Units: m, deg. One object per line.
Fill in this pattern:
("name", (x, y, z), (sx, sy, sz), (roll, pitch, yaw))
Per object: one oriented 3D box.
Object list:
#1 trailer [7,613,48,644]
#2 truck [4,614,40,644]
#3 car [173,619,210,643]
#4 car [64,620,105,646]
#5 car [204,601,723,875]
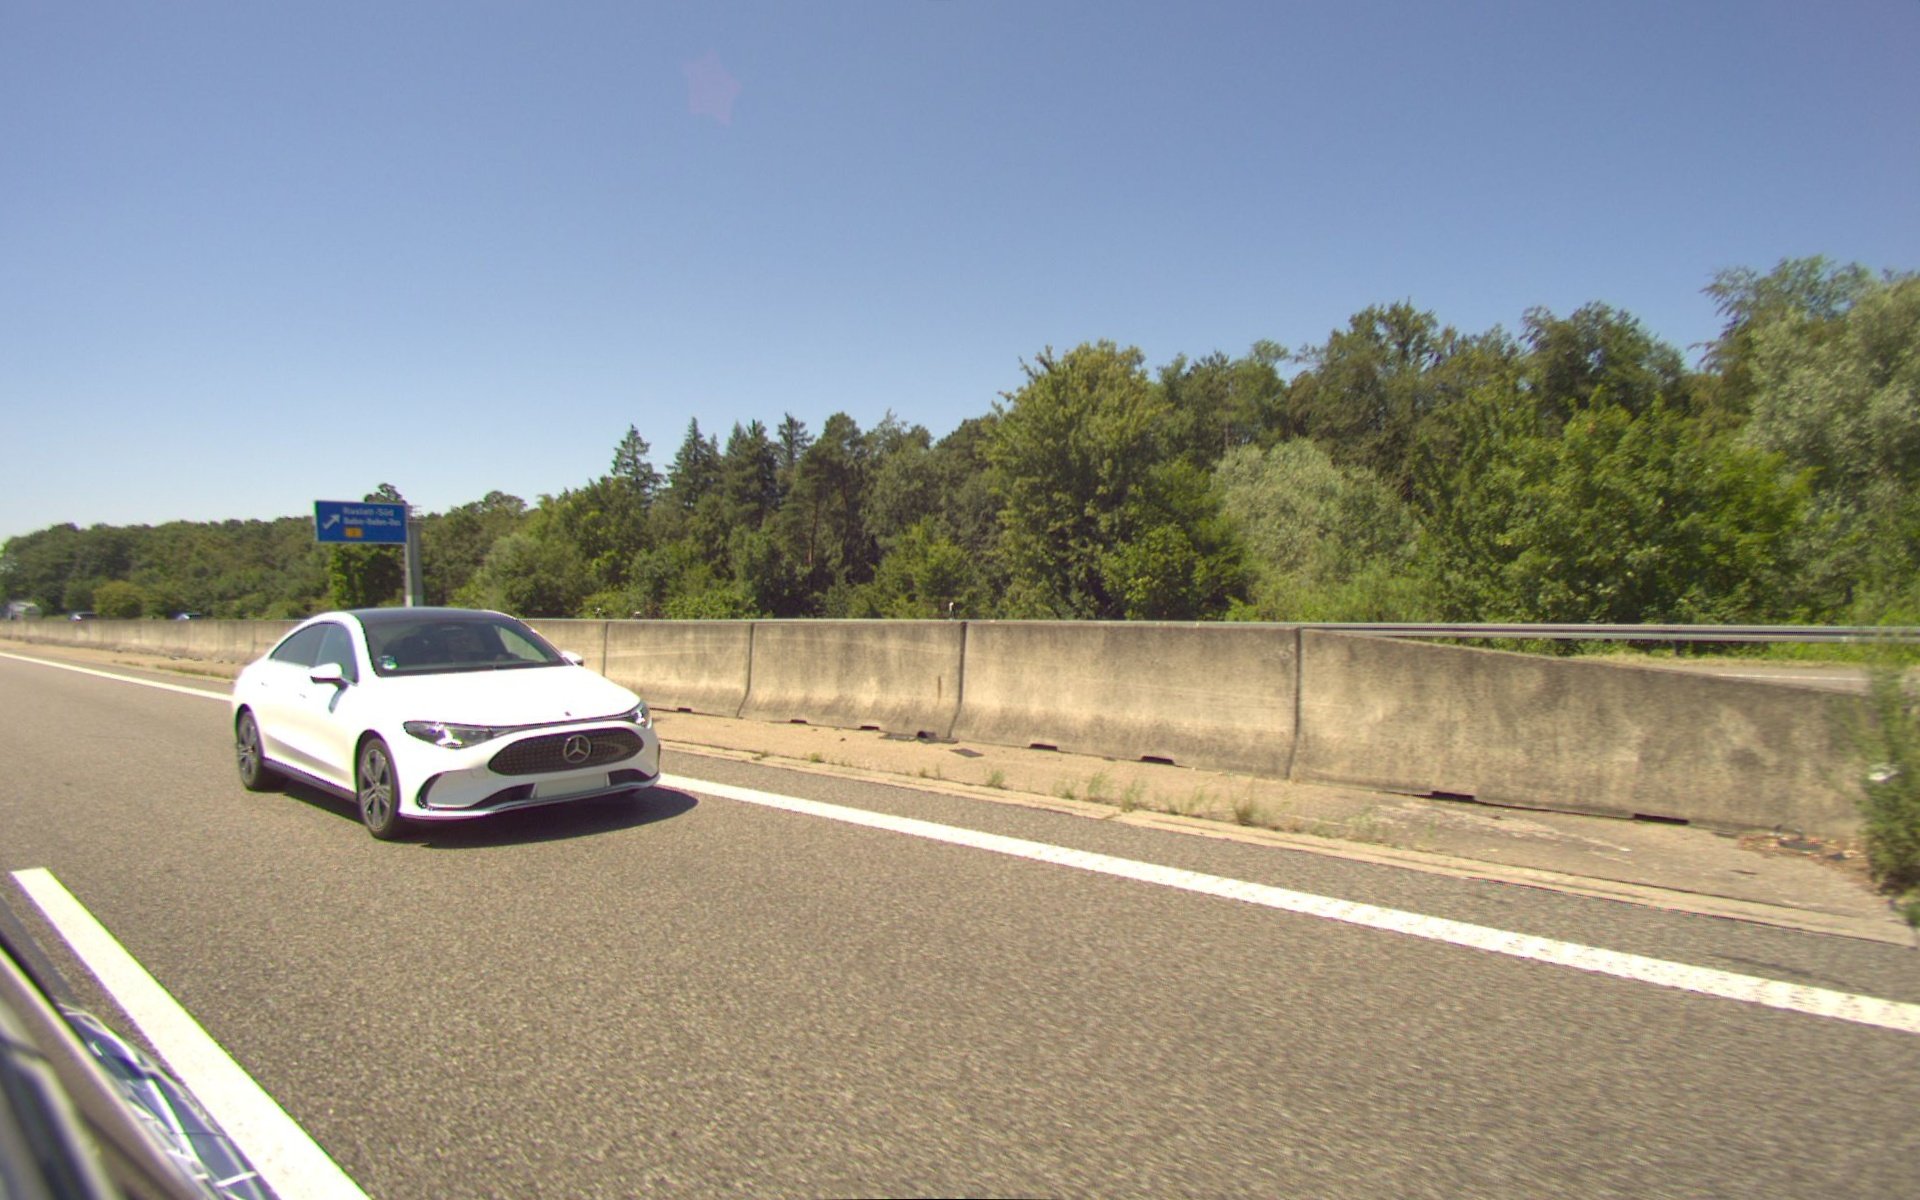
("trailer", (-132.665, 4.073, 143.861), (10.422, 4.077, 2.780), (-2, 2, 40))
("truck", (-135.759, 4.226, 146.435), (7.725, 4.077, 2.779), (-2, 2, 40))
("car", (-70.582, 2.824, 92.903), (4.428, 2.029, 1.972), (-1, 0, 43))
("car", (-74.621, 2.792, 86.224), (3.998, 2.028, 1.973), (-2, 2, 41))
("car", (-4.069, 0.813, 7.759), (5.105, 1.459, 1.748), (-2, -2, 41))
